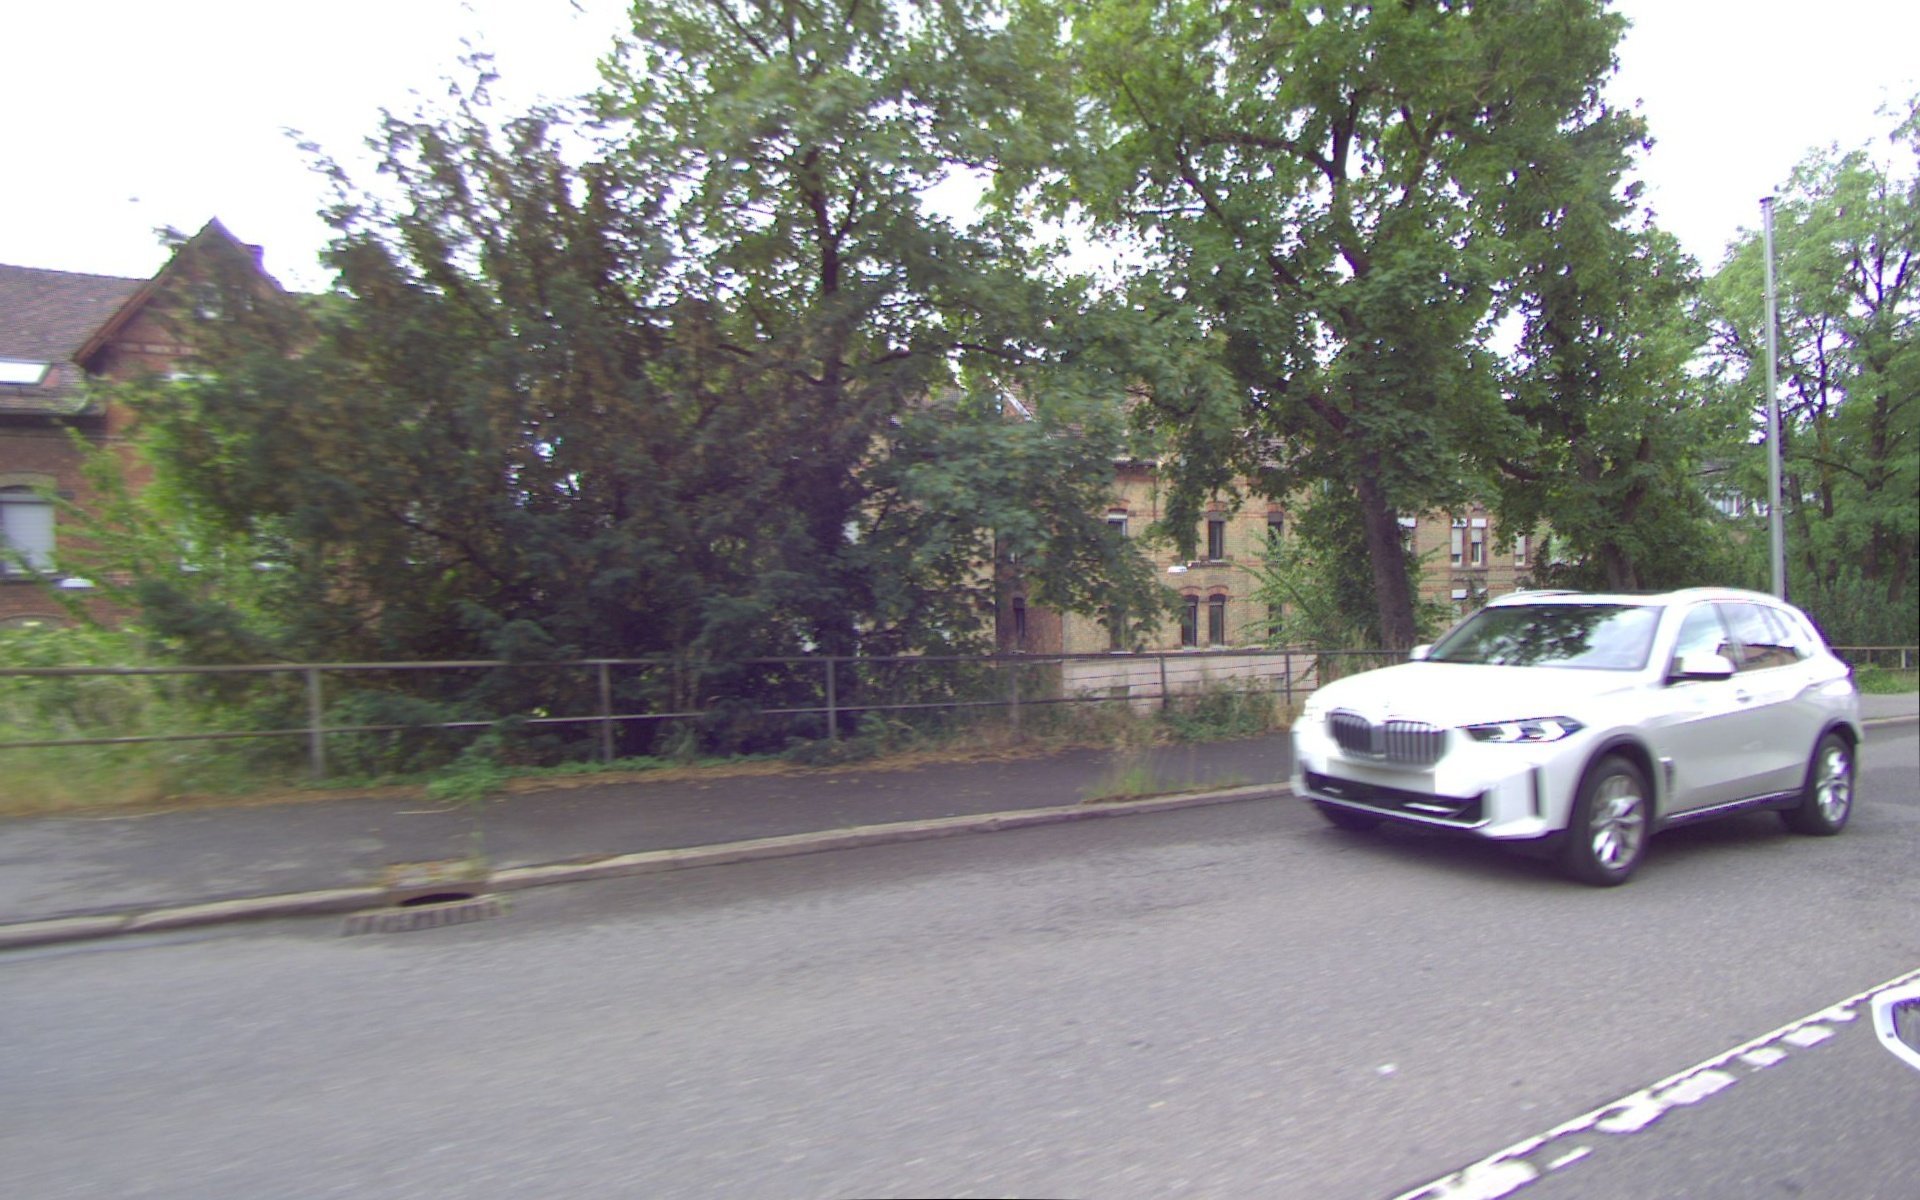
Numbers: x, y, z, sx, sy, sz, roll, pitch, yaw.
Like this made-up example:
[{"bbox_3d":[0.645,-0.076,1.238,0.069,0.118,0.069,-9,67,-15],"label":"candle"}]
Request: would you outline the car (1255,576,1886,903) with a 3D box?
[{"bbox_3d":[4.518,0.768,7.273,4.608,1.705,1.986,1,-1,-30],"label":"car"}]
